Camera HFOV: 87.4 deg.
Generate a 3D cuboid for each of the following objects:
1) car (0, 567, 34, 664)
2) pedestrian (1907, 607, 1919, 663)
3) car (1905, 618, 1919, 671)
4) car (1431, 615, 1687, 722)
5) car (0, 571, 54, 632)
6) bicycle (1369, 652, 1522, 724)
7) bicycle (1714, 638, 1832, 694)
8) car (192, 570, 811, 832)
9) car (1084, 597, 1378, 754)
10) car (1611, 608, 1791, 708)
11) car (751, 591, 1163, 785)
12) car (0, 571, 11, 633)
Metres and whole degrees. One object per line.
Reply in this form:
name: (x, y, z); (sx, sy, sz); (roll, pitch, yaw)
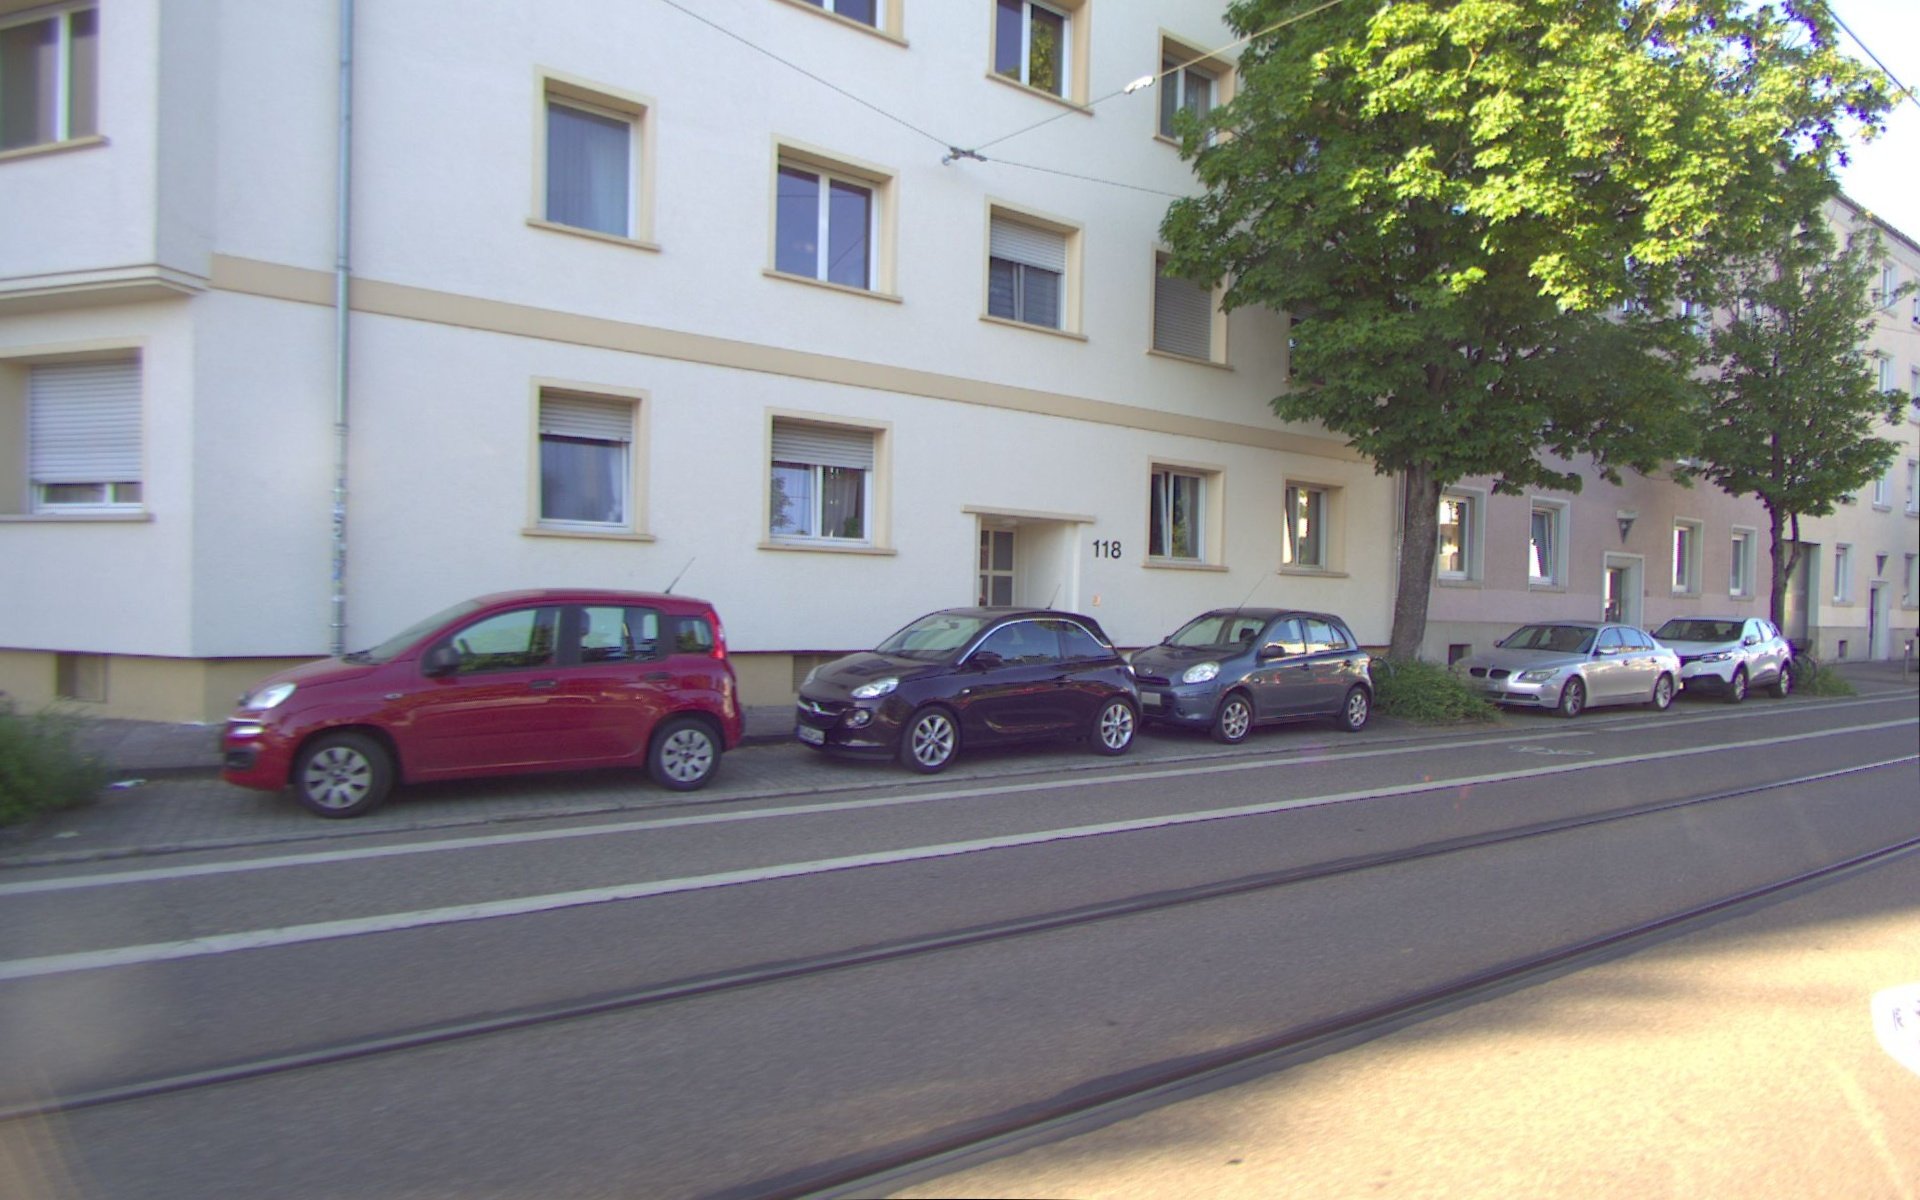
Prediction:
car: (-17.369, 0.287, 16.571); (1.881, 1.675, 3.975); (1, 1, -24)
pedestrian: (32.029, 1.166, 33.459); (0.537, 1.850, 0.533); (1, 2, -33)
car: (30.403, 1.383, 30.277); (4.146, 1.528, 1.798); (1, 1, -33)
car: (10.004, 1.067, 16.667); (4.607, 1.495, 1.679); (1, 1, -32)
car: (-30.699, 0.018, 32.009); (1.717, 1.859, 3.498); (1, 0, -25)
bicycle: (7.215, 1.289, 15.059); (0.472, 0.836, 2.115); (1, 1, -32)
bicycle: (17.686, 1.415, 21.901); (0.471, 1.060, 1.915); (1, 1, -31)
car: (-3.339, 0.640, 7.817); (3.952, 1.550, 1.681); (1, 2, -29)
car: (3.443, 0.838, 12.501); (3.697, 1.635, 1.579); (1, 1, -37)
car: (14.548, 1.069, 19.645); (4.256, 1.690, 1.639); (1, 1, -37)
car: (0.046, 0.759, 10.138); (3.820, 1.550, 1.774); (1, 1, -35)
car: (-29.005, 0.057, 28.668); (1.717, 1.859, 3.498); (1, 0, -25)
